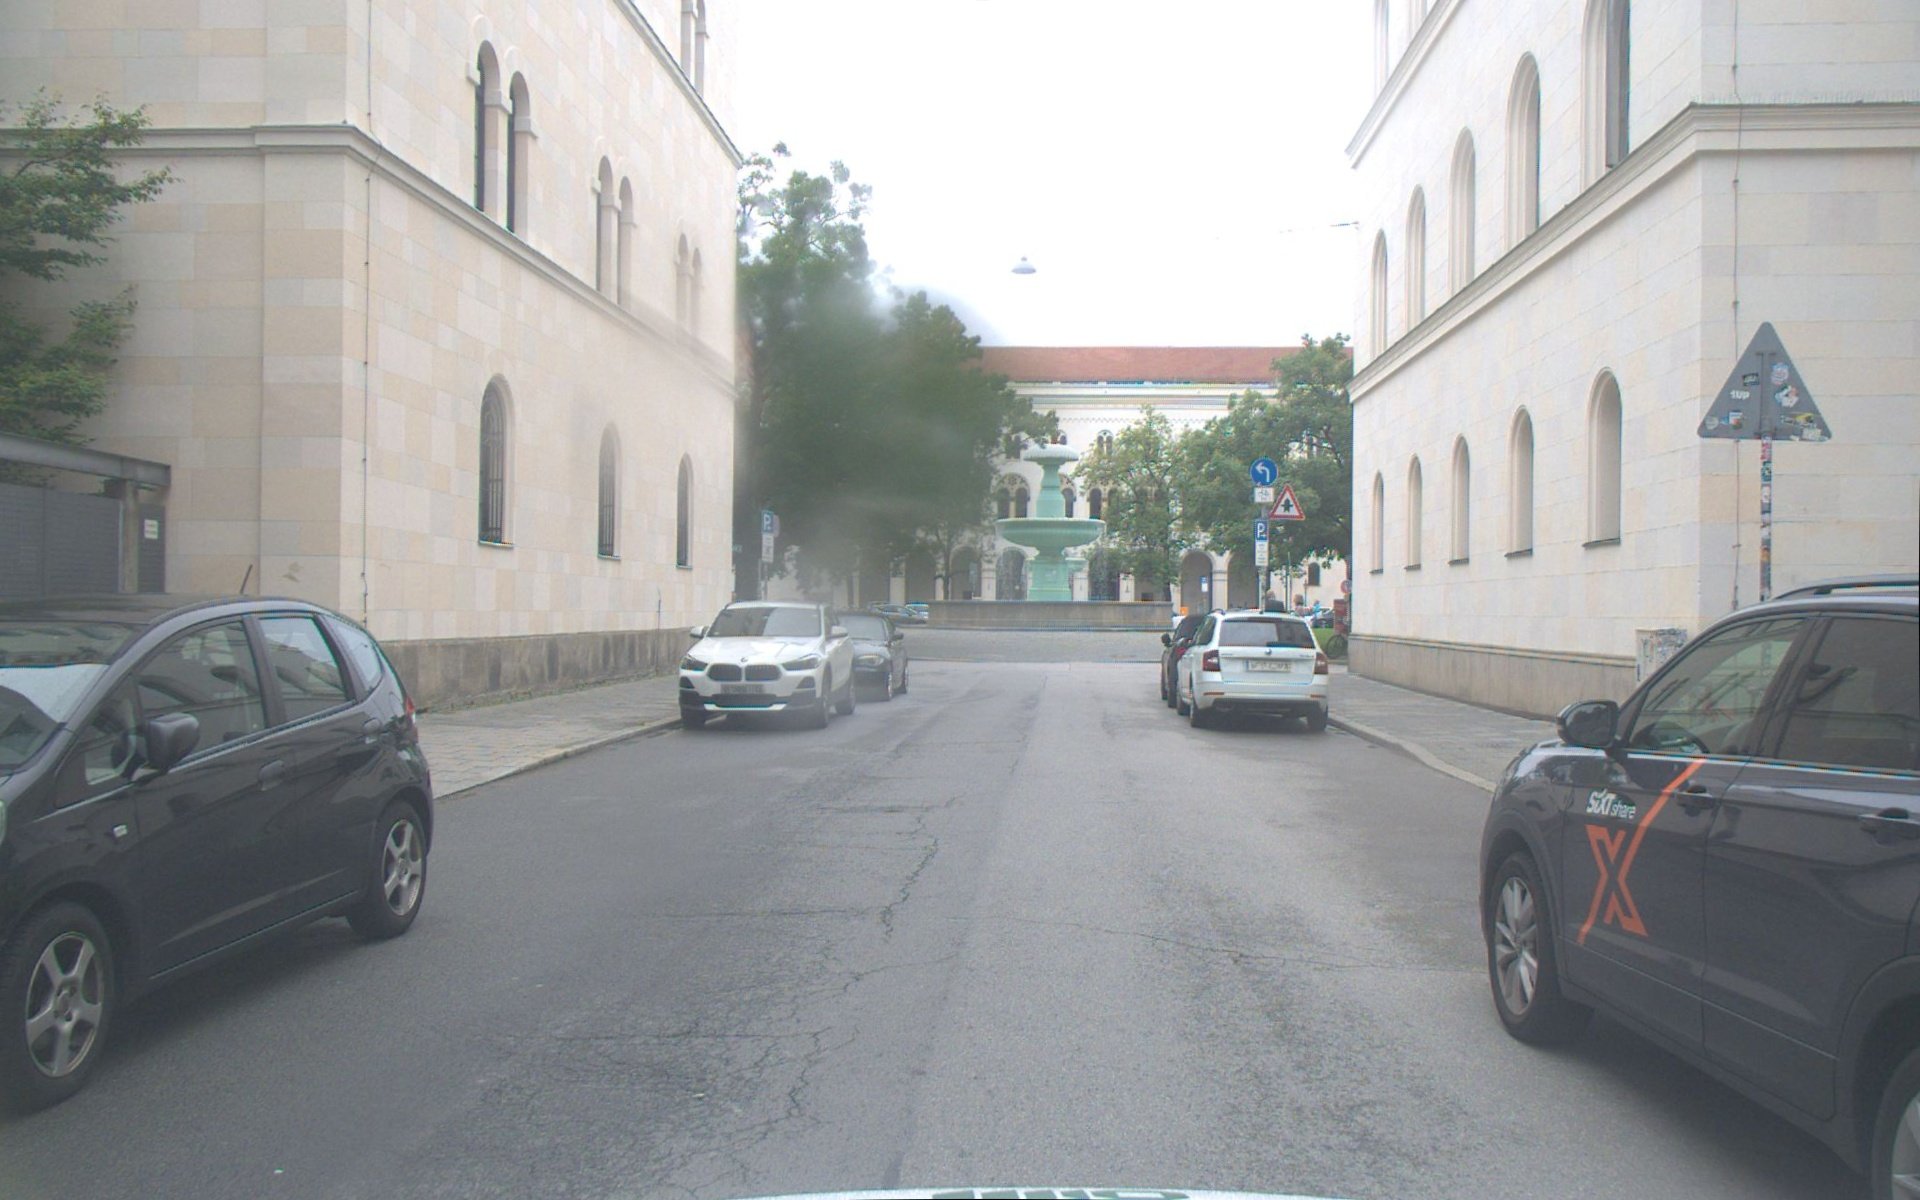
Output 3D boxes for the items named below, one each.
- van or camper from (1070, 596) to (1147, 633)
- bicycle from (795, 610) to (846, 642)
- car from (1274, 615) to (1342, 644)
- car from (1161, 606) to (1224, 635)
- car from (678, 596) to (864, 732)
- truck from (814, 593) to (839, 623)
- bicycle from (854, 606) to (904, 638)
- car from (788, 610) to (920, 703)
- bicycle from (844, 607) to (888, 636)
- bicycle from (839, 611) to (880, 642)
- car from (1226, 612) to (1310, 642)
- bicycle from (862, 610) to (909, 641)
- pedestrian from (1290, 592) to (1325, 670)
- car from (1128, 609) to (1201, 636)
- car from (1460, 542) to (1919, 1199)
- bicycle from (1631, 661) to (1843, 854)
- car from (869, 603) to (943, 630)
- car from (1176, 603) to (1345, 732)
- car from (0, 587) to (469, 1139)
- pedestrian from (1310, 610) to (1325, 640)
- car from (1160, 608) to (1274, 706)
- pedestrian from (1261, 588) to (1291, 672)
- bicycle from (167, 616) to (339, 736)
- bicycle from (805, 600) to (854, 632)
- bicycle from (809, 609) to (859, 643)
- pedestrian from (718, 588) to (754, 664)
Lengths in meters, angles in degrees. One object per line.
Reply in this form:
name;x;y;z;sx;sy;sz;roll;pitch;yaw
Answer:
van or camper;9.006;0.888;100.749;4.485;2.049;2.000;-2;-1;1
bicycle;-4.707;0.877;55.827;1.584;1.054;0.699;1;0;15
car;22.457;1.889;106.755;4.013;1.772;1.746;1;0;0
car;15.070;1.331;107.364;3.904;1.780;1.809;1;0;3
car;-2.337;0.783;21.484;1.741;1.562;4.213;-1;-1;3
truck;-11.781;0.670;145.653;1.956;2.532;3.994;1;0;-7
bicycle;-2.924;0.783;59.845;1.673;1.118;0.699;1;0;15
car;-1.697;0.900;27.710;1.663;1.417;4.213;-1;-1;4
bicycle;-3.558;0.809;62.470;1.503;1.037;0.699;1;0;15
bicycle;-3.738;0.971;61.665;1.371;1.118;0.657;1;0;15
car;16.504;1.423;88.806;4.265;1.551;1.805;0;0;5
bicycle;-2.741;0.930;60.584;1.584;1.118;0.617;1;0;15
pedestrian;7.756;0.686;36.890;0.608;1.711;0.545;2;0;-2
car;11.042;1.214;89.525;3.902;1.427;1.826;0;0;6
car;2.831;0.713;4.488;1.711;1.621;3.955;1;0;0
bicycle;4.855;0.947;10.441;0.341;1.060;1.632;-2;0;-8
car;-2.923;0.878;90.247;3.904;1.400;2.001;0;0;2
car;3.888;0.821;22.021;1.751;1.502;4.315;1;0;4
car;-3.378;0.720;6.057;1.714;1.479;4.017;-1;1;4
pedestrian;17.769;1.240;82.226;0.571;1.491;0.547;0;0;27
car;4.098;0.875;26.788;1.508;1.451;3.774;1;-1;4
pedestrian;6.991;0.648;36.595;0.628;1.840;0.489;0;0;9
bicycle;-7.304;0.769;17.103;1.675;1.198;0.476;0;0;13
bicycle;-4.680;0.570;59.421;1.584;1.118;0.699;1;0;15
bicycle;-4.361;0.901;57.413;1.584;1.118;0.699;1;0;15
pedestrian;-5.297;0.607;39.130;0.738;1.780;0.690;0;0;2
